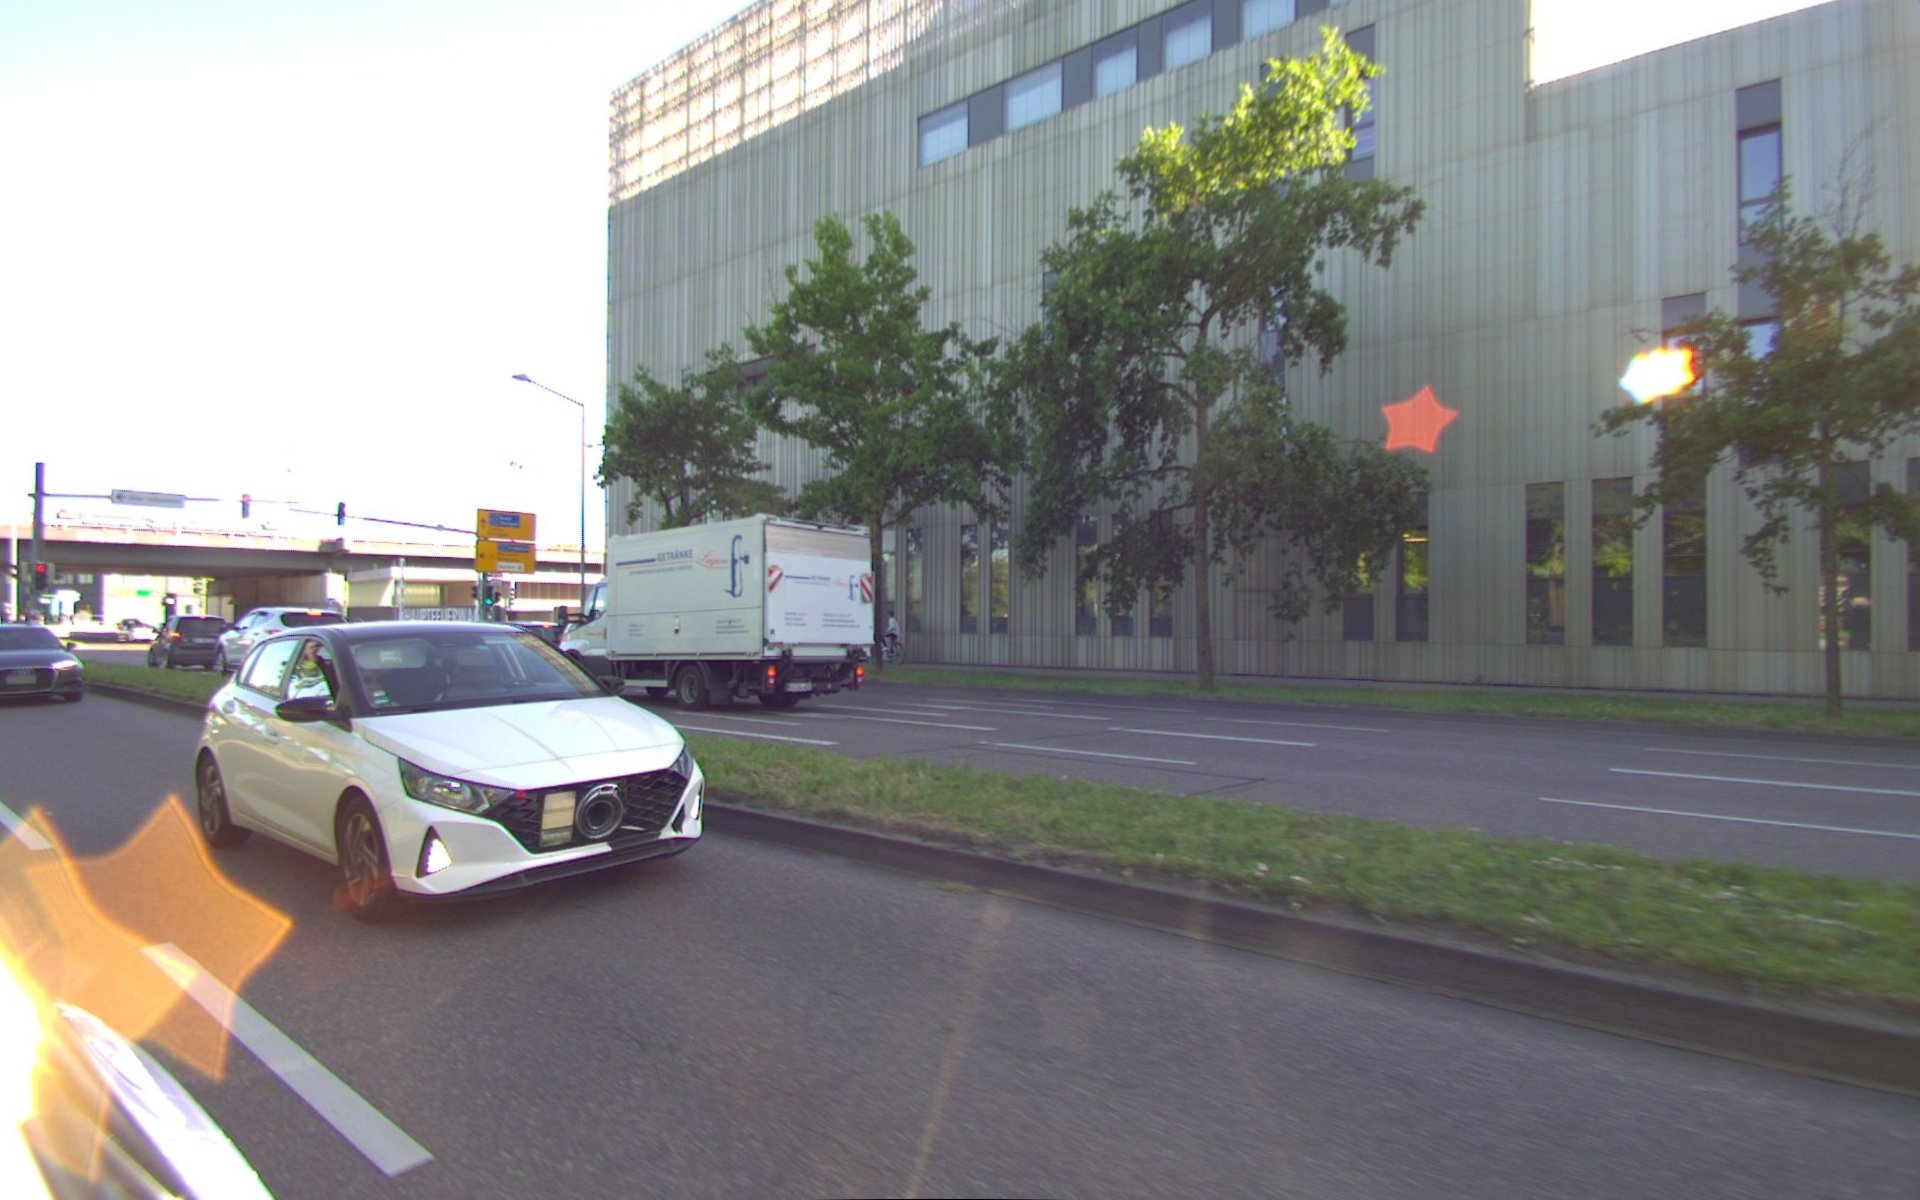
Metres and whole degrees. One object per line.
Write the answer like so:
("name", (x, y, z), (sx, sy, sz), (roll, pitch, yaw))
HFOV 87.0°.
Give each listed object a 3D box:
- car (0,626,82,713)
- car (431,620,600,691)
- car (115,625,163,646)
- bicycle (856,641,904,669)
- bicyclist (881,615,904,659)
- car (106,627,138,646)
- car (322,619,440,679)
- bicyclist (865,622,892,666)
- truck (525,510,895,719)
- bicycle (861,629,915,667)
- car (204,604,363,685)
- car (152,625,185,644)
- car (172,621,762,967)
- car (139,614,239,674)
("car", (-17.505, 1.195, 18.388), (4.361, 1.415, 1.680), (-1, -2, 40))
("car", (-9.841, 1.191, 22.290), (3.997, 1.435, 1.816), (-2, -3, 40))
("car", (-57.860, 2.494, 71.284), (4.877, 1.452, 1.685), (-1, -3, 40))
("bicycle", (-2.662, 1.817, 33.544), (1.753, 0.897, 0.507), (-1, -2, 40))
("bicyclist", (-2.345, 1.279, 35.008), (0.644, 1.518, 0.502), (-2, -2, 39))
("car", (-71.379, 3.098, 86.219), (3.424, 1.544, 1.551), (-1, -2, 41))
("car", (-15.493, 1.285, 27.018), (3.638, 1.481, 1.603), (-1, -4, 41))
("bicyclist", (-2.703, 1.449, 33.590), (0.752, 1.453, 0.502), (-2, -2, 40))
("truck", (-4.621, 0.314, 17.798), (7.110, 2.983, 2.658), (-1, -4, 41))
("bicycle", (-2.514, 1.645, 35.139), (2.098, 1.280, 0.507), (-1, -2, 40))
("car", (-15.735, 1.016, 23.459), (4.655, 1.695, 1.805), (-1, -3, 40))
("car", (-60.957, 2.662, 77.931), (1.473, 1.422, 3.940), (2, -2, -45))
("car", (-3.214, 0.856, 6.221), (4.071, 1.419, 1.760), (-1, -1, 40))
("car", (-21.717, 1.221, 28.469), (3.211, 1.592, 1.585), (-1, -3, 41))
